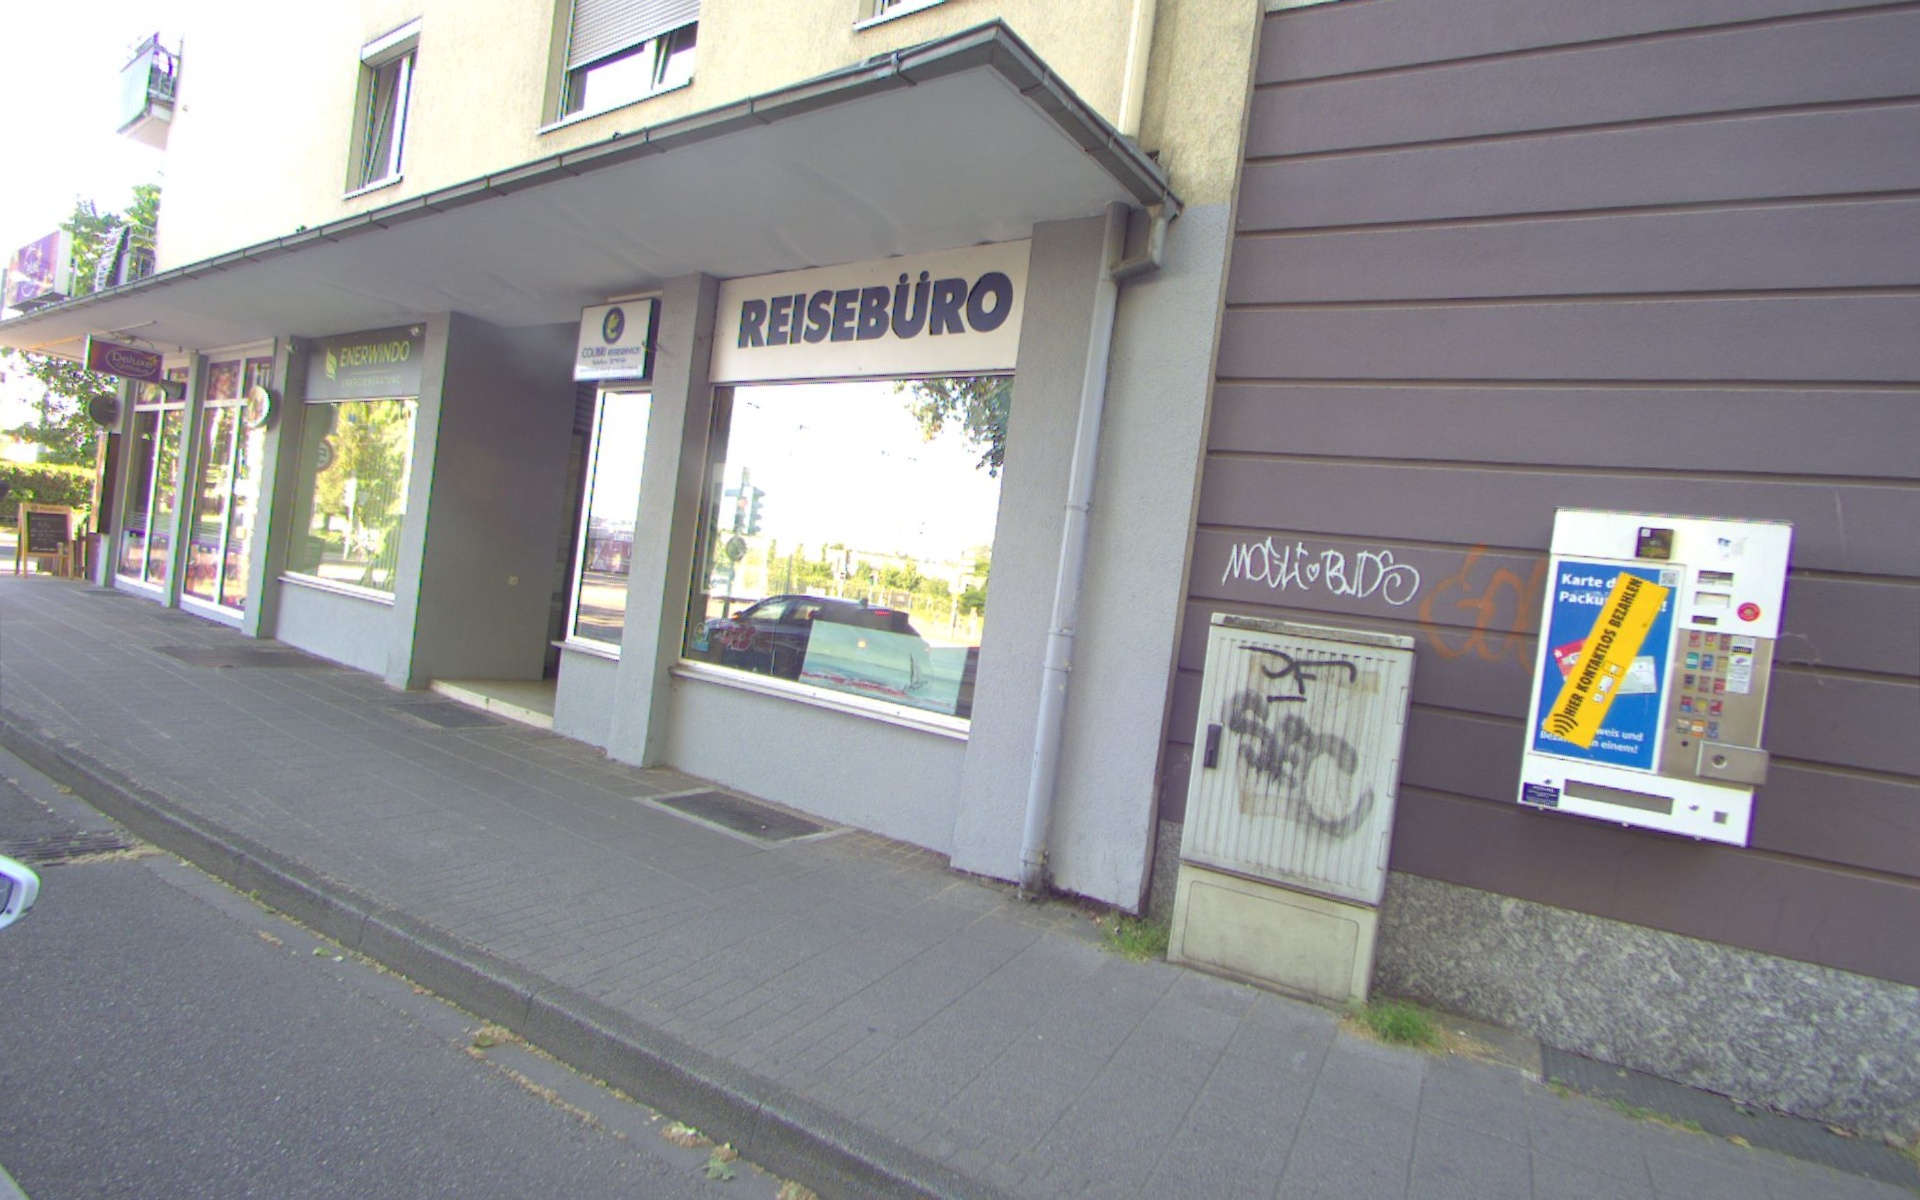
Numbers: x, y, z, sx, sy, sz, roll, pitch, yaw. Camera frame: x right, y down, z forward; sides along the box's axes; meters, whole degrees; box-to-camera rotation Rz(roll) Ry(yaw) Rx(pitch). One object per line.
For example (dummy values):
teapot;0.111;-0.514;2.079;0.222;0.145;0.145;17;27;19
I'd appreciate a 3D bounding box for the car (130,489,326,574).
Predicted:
car;-21.068;-1.908;29.094;1.781;1.835;4.172;4;-3;40

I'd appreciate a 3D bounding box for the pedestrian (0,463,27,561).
pedestrian;-18.919;-1.745;19.609;0.695;1.869;0.698;7;1;-19
